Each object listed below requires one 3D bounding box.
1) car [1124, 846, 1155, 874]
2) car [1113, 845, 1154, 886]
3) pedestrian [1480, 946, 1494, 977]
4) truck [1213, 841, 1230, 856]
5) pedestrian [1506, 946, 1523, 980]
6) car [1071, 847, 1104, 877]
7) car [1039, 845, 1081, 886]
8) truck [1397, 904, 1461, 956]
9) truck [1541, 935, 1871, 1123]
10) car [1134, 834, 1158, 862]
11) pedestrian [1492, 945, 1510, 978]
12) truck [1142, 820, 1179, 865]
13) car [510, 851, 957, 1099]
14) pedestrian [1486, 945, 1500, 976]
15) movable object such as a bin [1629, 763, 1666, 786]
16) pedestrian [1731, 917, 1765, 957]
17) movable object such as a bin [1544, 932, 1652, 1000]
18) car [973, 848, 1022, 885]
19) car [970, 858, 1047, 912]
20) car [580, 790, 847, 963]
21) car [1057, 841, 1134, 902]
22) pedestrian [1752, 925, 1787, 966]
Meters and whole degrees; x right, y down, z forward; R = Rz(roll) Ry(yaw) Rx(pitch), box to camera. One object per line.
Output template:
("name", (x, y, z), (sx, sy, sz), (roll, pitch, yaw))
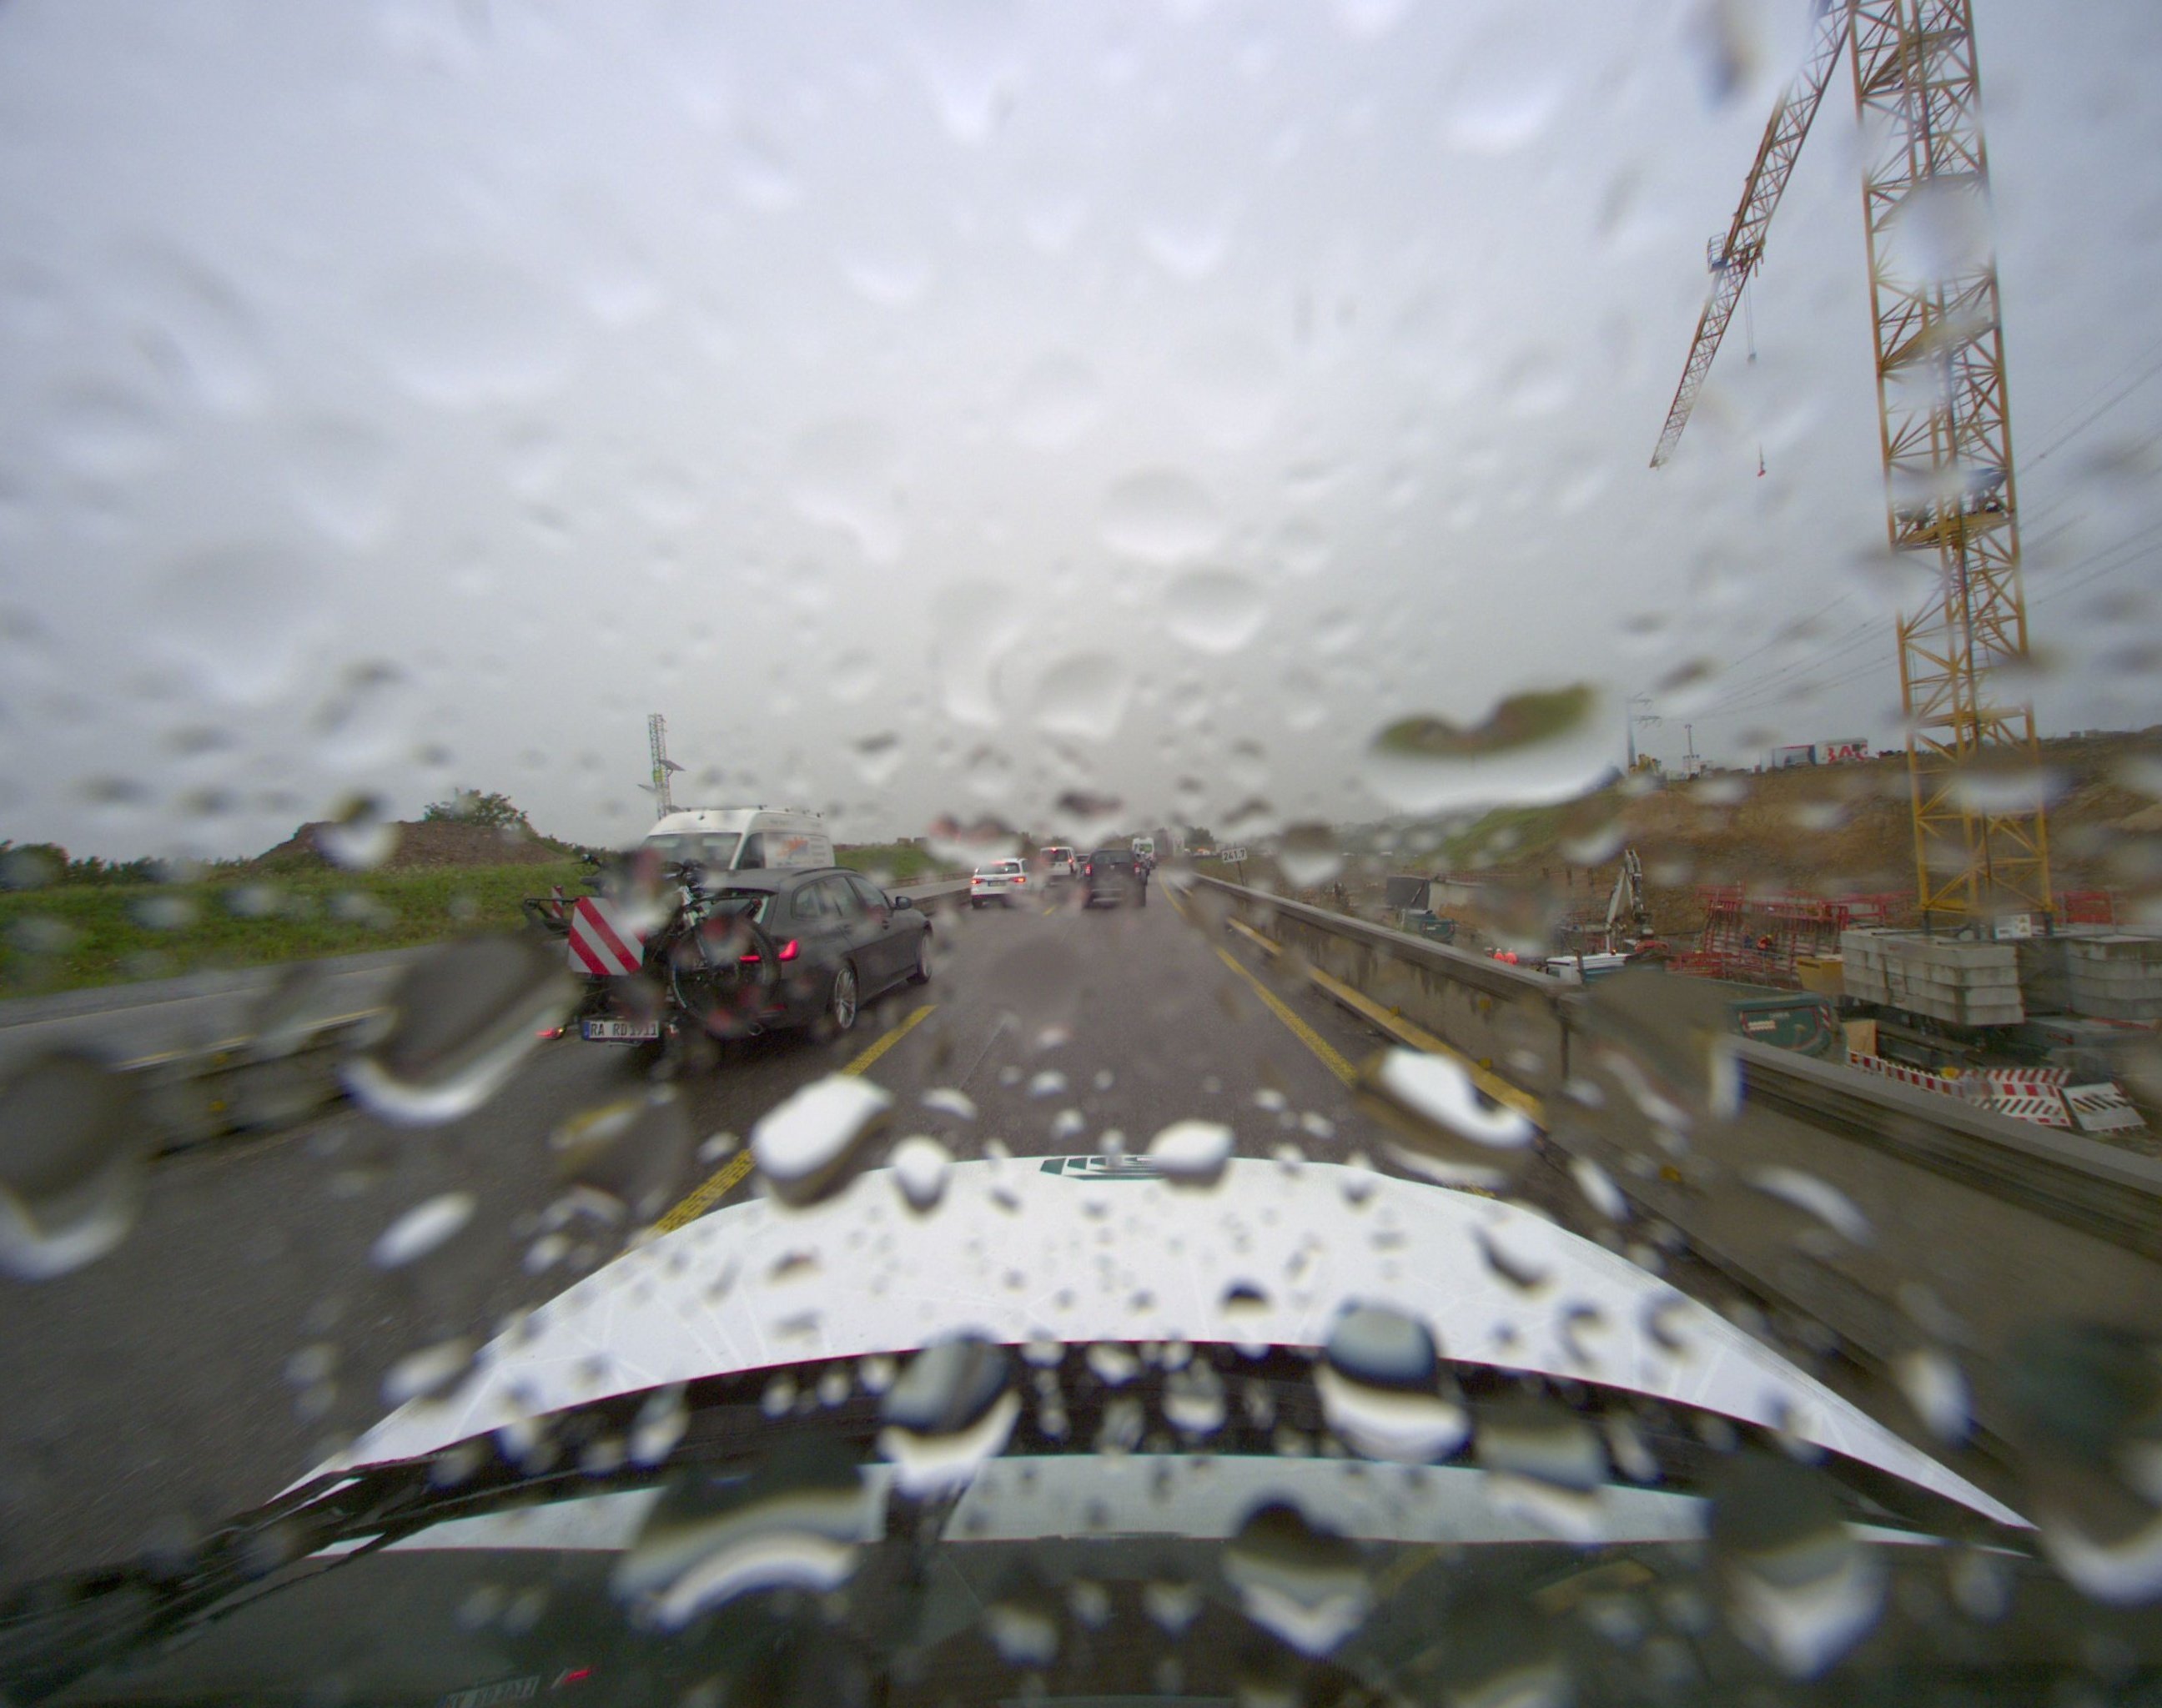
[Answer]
("car", (3.951, 0.421, 54.637), (1.816, 1.815, 4.007), (-1, -1, 7))
("car", (2.478, 0.527, 38.514), (1.818, 1.815, 4.004), (-1, -1, 3))
("pedestrian", (25.508, 6.755, 51.186), (0.569, 1.869, 0.737), (-1, -1, 11))
("truck", (37.746, -1.561, 218.742), (3.445, 3.715, 8.456), (-2, 0, 17))
("pedestrian", (26.416, 6.624, 49.612), (0.726, 1.944, 0.579), (-2, -1, 43))
("car", (0.449, 0.533, 52.873), (1.818, 1.815, 4.005), (-1, -1, 4))
("car", (-0.952, 0.539, 39.018), (1.820, 1.815, 4.000), (-1, -1, 1))
("truck", (28.287, 6.119, 66.668), (2.713, 3.491, 9.088), (-1, -1, 9))
("truck", (16.997, 4.496, 23.334), (2.689, 3.503, 8.949), (-1, -1, 1))
("car", (5.942, -0.505, 73.714), (1.815, 2.437, 4.168), (-1, -1, 9))
("pedestrian", (25.938, 6.640, 50.300), (0.576, 1.944, 0.729), (-1, -1, -23))
("truck", (9.683, -1.299, 97.947), (3.521, 5.077, 10.471), (-1, -1, 10))
("car", (-2.693, 0.780, 8.109), (1.727, 1.462, 5.634), (-1, 1, 3))
("pedestrian", (26.231, 6.752, 51.817), (0.568, 1.869, 0.740), (-2, -1, 41))
("movable object such as a bin", (70.254, -9.878, 101.129), (2.412, 2.443, 3.983), (-1, 1, 12))
("pedestrian", (36.975, 4.584, 45.156), (0.898, 1.999, 0.901), (9, 0, 9))
("movable object such as a bin", (23.667, 5.111, 37.459), (3.135, 2.738, 2.972), (-1, -1, 5))
("car", (-4.188, 0.604, 41.344), (1.783, 1.723, 4.291), (-1, 0, 3))
("car", (-2.149, 0.905, 25.252), (1.819, 1.499, 4.003), (-1, -1, 3))
("car", (-6.444, 0.327, 15.360), (2.016, 2.548, 5.961), (-2, 0, 2))
("car", (0.511, 0.481, 23.666), (1.817, 1.591, 4.007), (-1, -1, 6))
("pedestrian", (36.747, 4.877, 43.482), (0.898, 1.999, 0.901), (9, 0, 9))
